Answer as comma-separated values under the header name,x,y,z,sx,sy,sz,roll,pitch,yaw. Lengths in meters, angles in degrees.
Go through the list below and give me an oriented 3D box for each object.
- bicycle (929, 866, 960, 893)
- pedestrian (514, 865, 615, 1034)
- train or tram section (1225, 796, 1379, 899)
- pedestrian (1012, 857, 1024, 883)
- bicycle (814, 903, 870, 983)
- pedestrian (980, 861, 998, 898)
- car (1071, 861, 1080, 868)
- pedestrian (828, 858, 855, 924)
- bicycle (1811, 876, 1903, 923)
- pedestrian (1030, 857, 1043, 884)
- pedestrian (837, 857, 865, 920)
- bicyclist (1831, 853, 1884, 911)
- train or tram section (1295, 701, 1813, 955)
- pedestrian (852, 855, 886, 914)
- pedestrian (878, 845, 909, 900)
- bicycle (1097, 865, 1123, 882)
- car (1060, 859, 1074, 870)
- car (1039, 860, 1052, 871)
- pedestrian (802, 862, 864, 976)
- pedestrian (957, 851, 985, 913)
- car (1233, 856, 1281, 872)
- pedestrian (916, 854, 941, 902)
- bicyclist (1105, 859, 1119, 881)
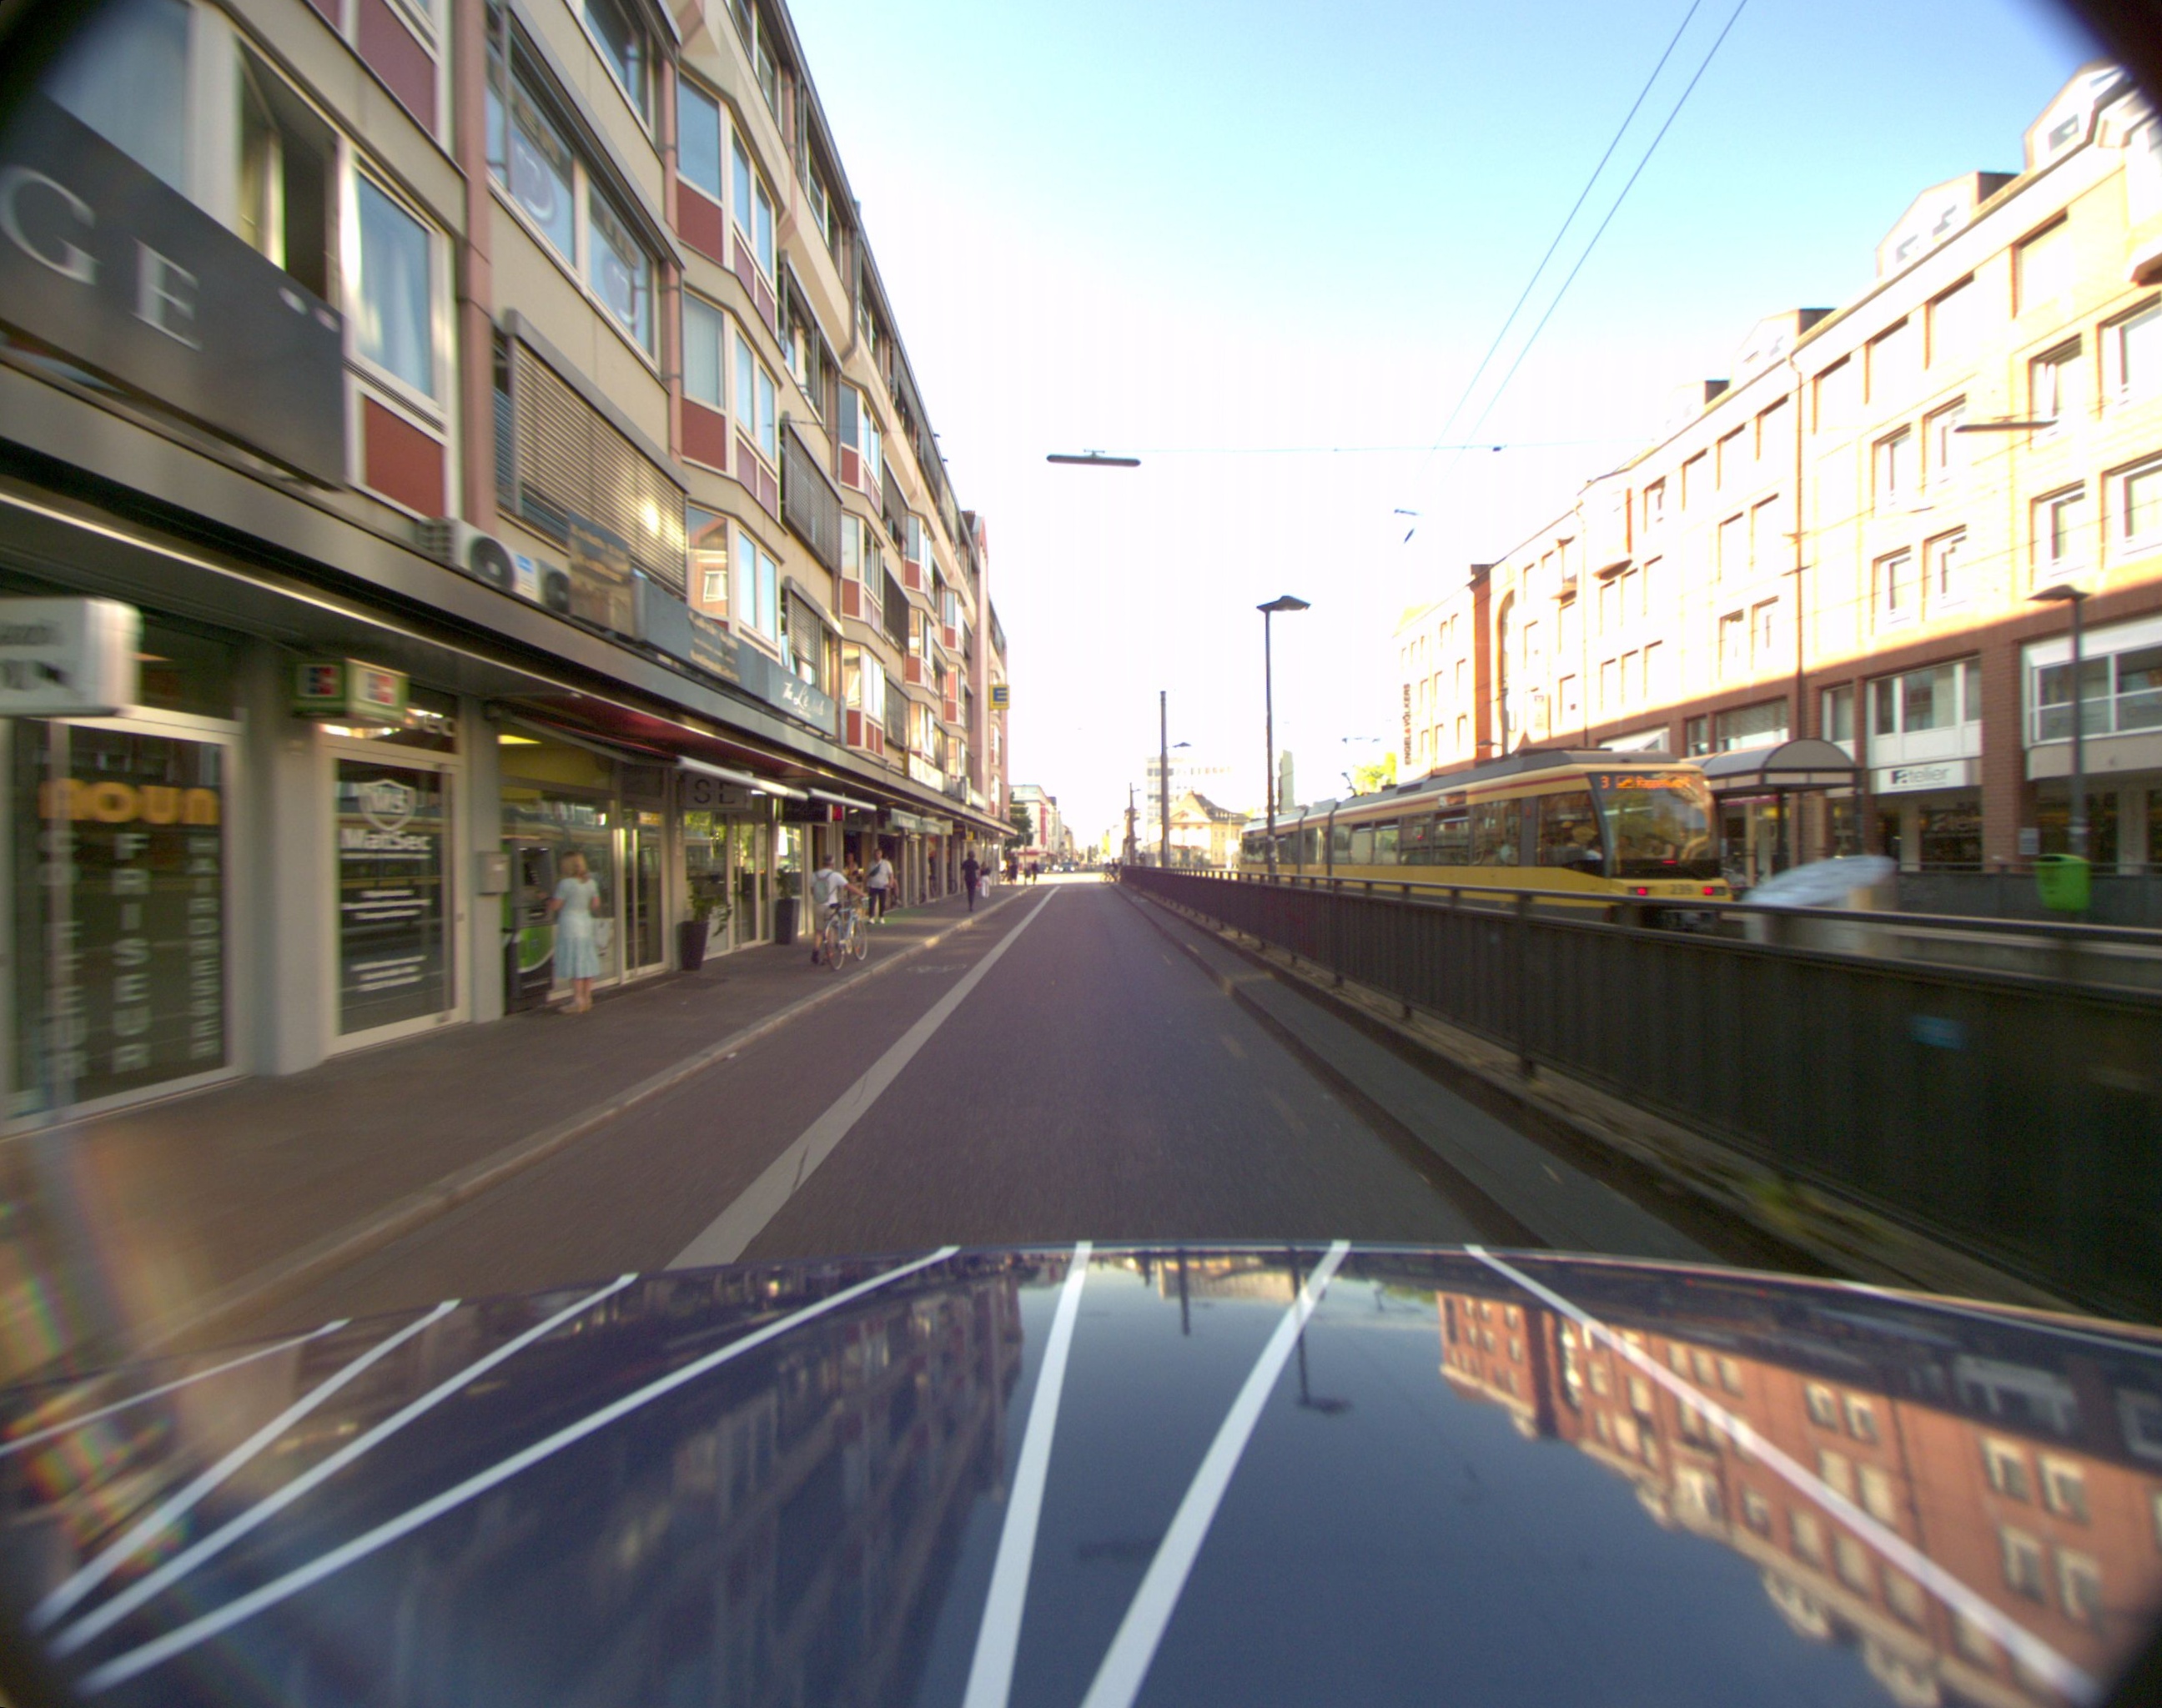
name,x,y,z,sx,sy,sz,roll,pitch,yaw
bicycle,-6.211,1.133,34.478,1.477,1.193,0.483,-1,0,37
pedestrian,-5.020,0.904,7.411,0.602,1.581,0.553,0,0,0
train or tram section,9.370,-0.216,34.675,2.981,3.623,13.944,-3,0,1
pedestrian,-3.877,0.971,46.522,0.709,1.604,0.495,0,2,0
bicycle,-3.499,1.267,11.227,0.303,0.984,1.760,0,0,-1
pedestrian,-3.866,1.066,31.988,0.667,1.512,0.789,2,0,-2
car,-1.078,2.154,156.300,1.730,1.336,3.484,-2,0,-2
pedestrian,-5.884,0.903,18.651,0.457,1.594,0.530,-1,0,0
bicycle,19.938,1.139,19.577,0.507,1.108,1.815,-1,0,0
pedestrian,-3.055,1.153,52.193,0.680,1.832,0.606,-3,0,-12
pedestrian,-6.045,0.896,19.961,0.517,1.623,0.522,-1,0,5
bicyclist,19.930,0.699,19.518,0.507,1.458,0.841,-1,0,0
train or tram section,9.284,-0.269,19.441,2.981,3.622,16.487,-3,-1,1
pedestrian,-6.034,0.855,21.659,0.774,1.665,0.696,0,1,1
pedestrian,-5.615,0.556,22.811,0.728,1.626,0.639,1,0,2
bicycle,1.831,1.218,47.635,1.592,1.027,0.418,-1,0,-6
car,-2.008,1.476,107.932,1.772,1.458,3.812,-1,0,-2
car,-5.041,1.597,108.721,1.772,1.458,3.812,-1,0,-2
pedestrian,-3.666,0.941,11.284,0.664,1.621,0.705,1,0,-1
pedestrian,-3.384,0.844,23.485,0.676,1.850,0.992,1,0,2
car,16.650,0.943,72.133,2.004,1.496,3.989,-1,0,-43
pedestrian,-5.494,0.866,27.356,0.789,1.711,0.591,1,-1,-18
bicyclist,1.923,0.999,47.817,0.750,1.372,0.901,-1,0,-5
